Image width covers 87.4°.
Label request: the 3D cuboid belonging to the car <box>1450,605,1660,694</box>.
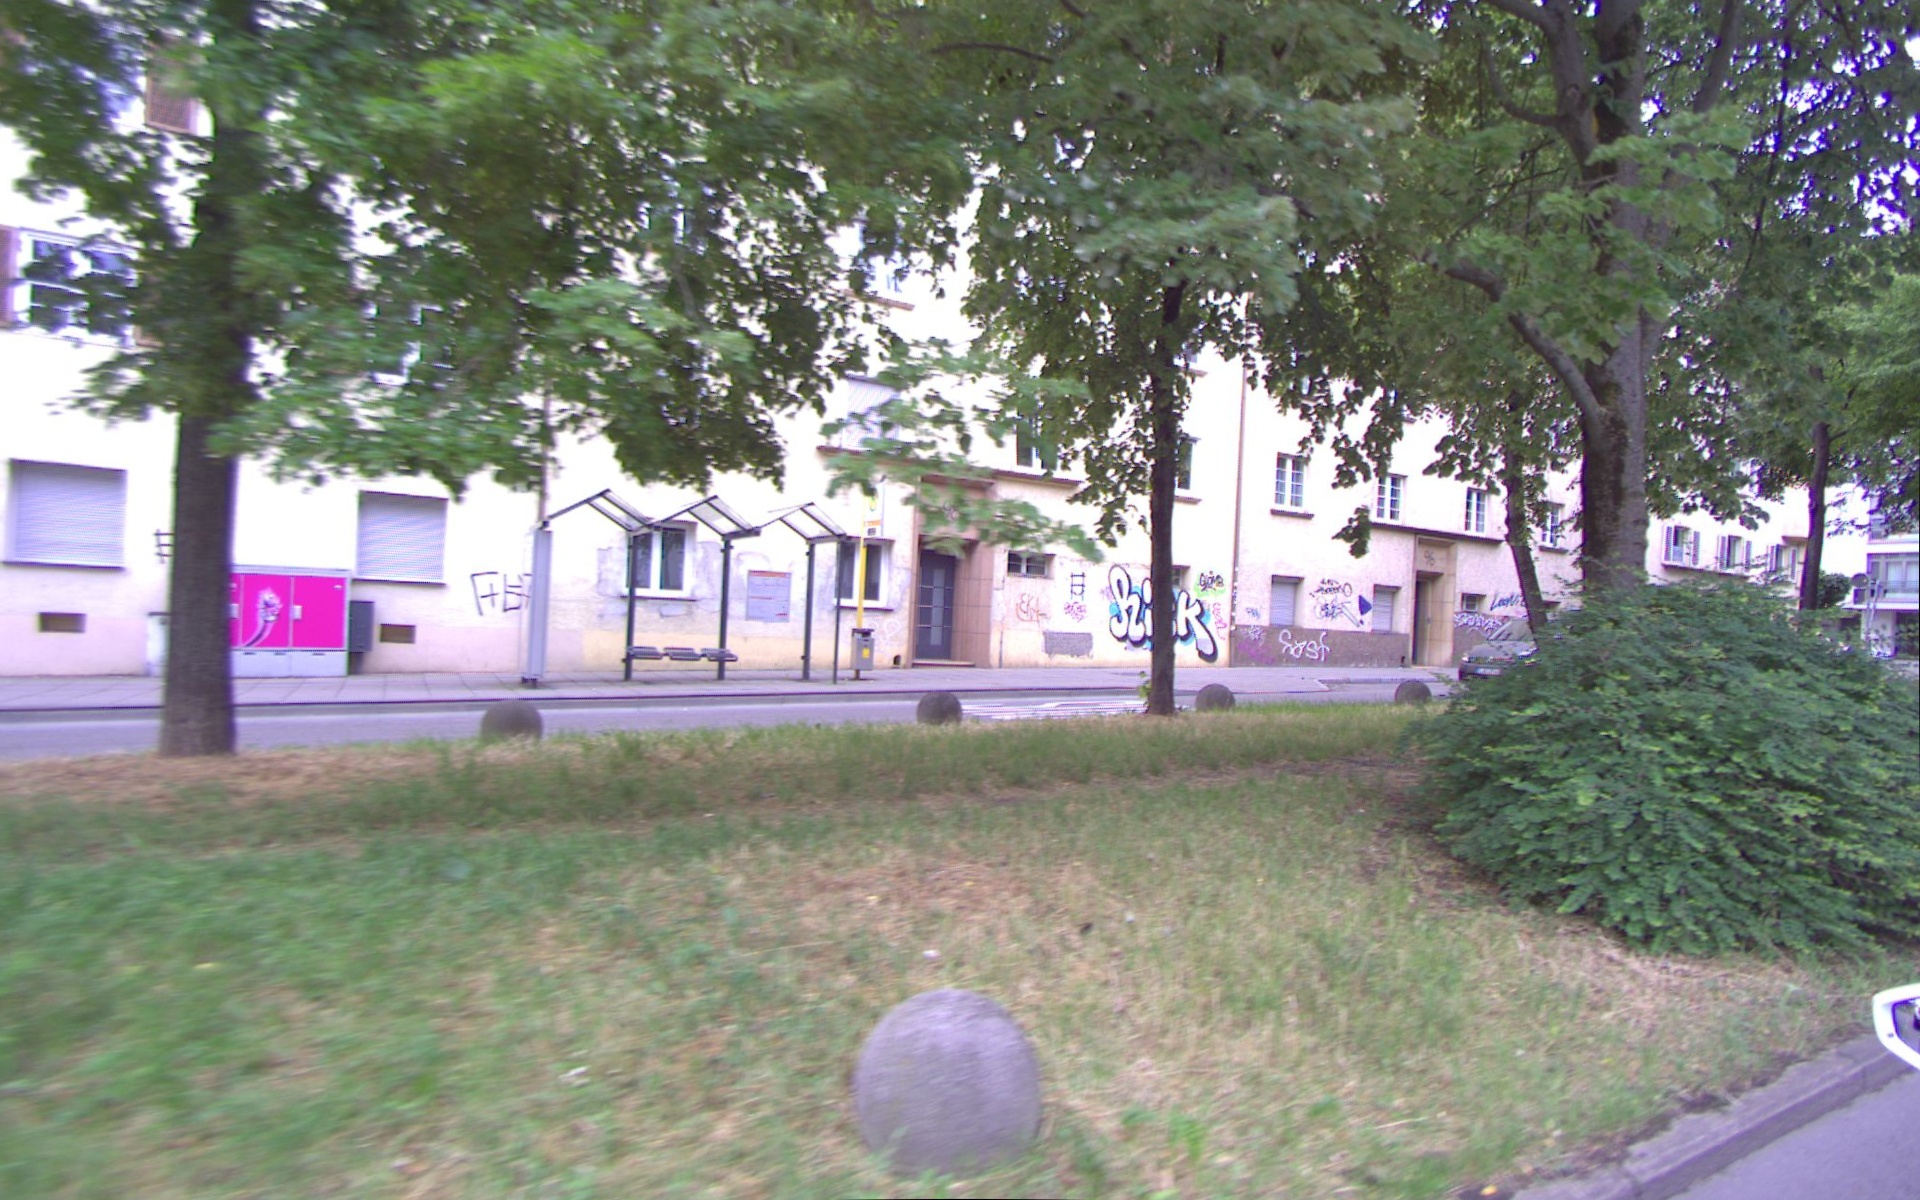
[{"bbox_3d":[12.406,1.000,20.902,4.315,1.650,1.939,2,0,-31],"label":"car"}]
